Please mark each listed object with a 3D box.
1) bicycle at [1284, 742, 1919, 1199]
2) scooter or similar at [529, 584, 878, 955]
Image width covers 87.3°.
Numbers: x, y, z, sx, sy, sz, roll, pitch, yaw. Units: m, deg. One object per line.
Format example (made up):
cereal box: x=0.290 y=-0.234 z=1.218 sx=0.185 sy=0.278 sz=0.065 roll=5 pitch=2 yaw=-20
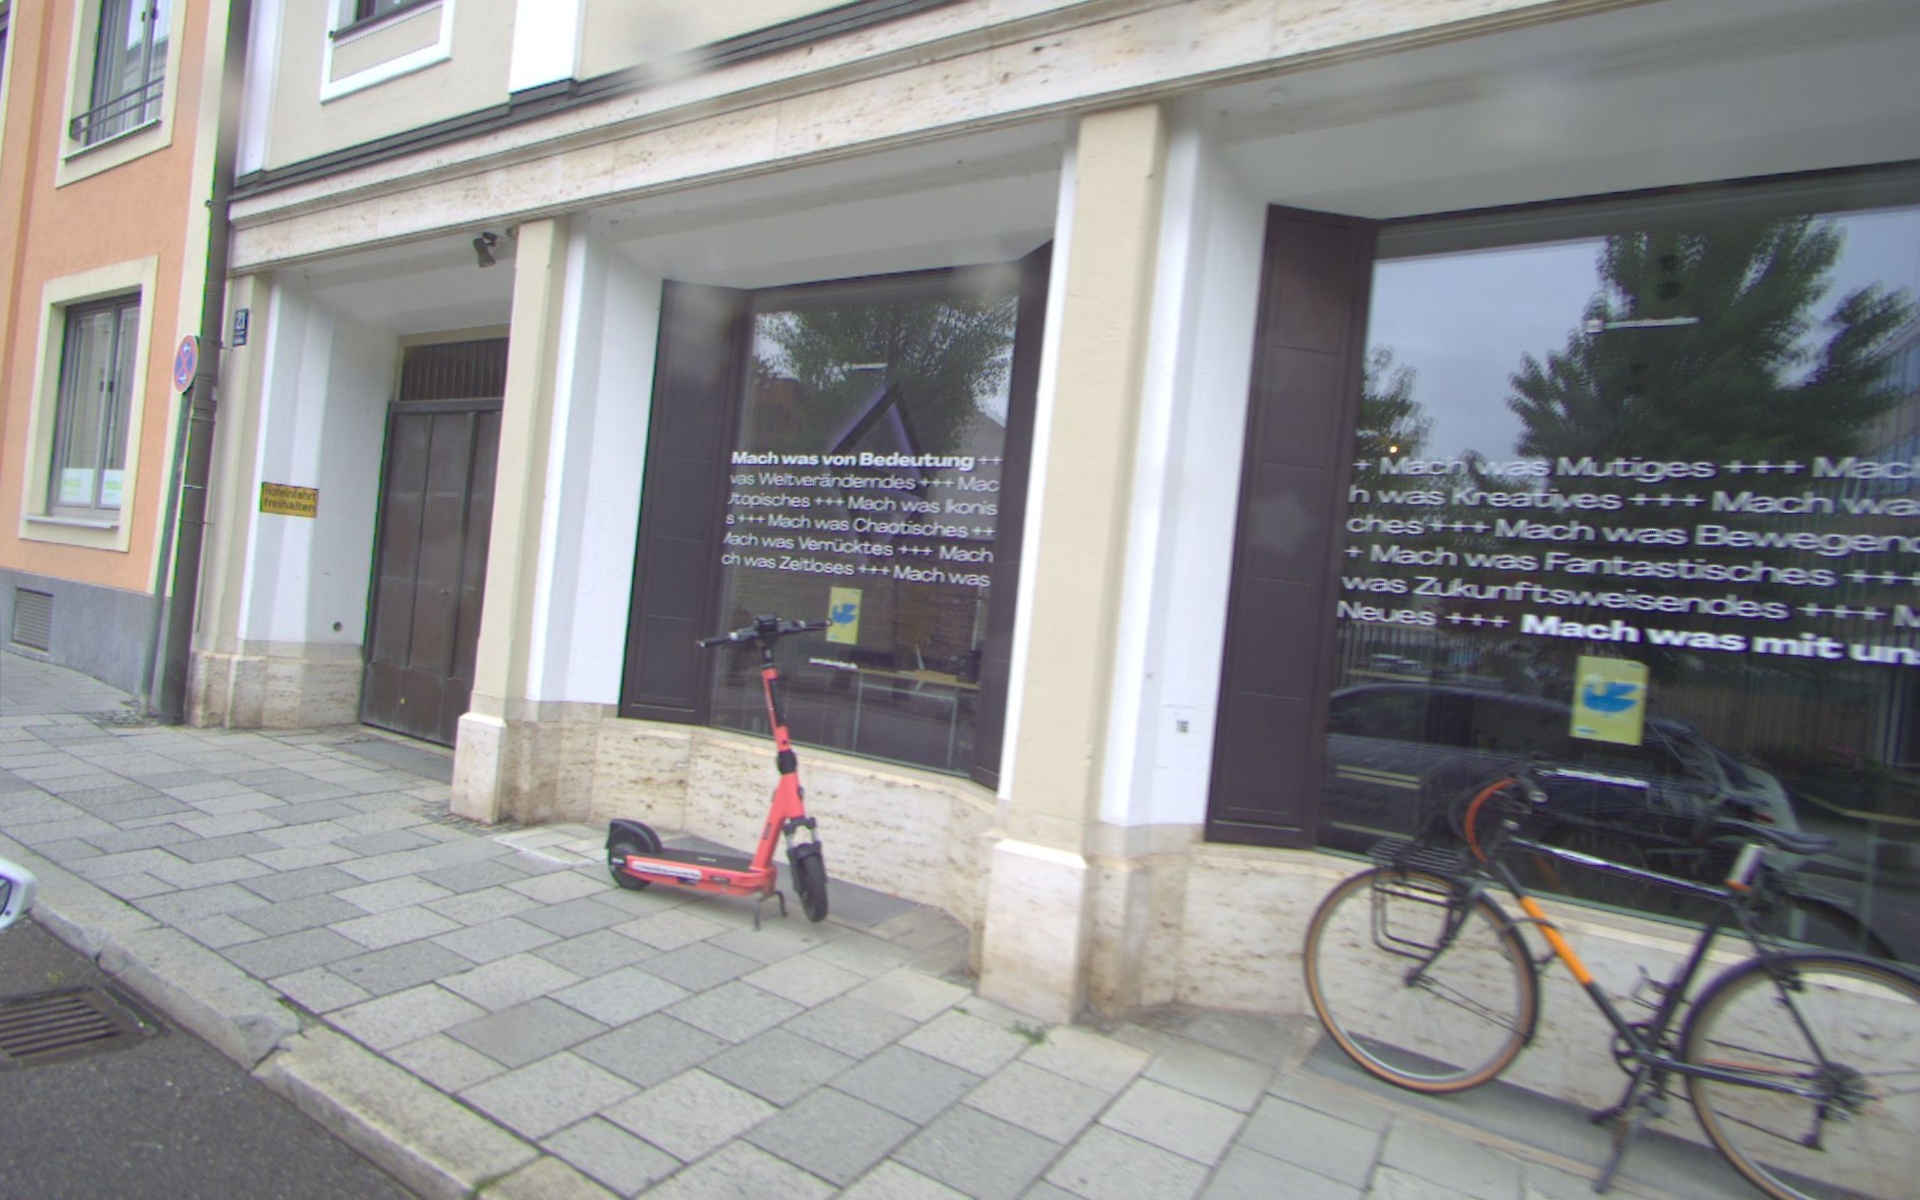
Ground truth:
bicycle: x=2.053 y=1.105 z=2.860 sx=2.049 sy=1.007 sz=0.463 roll=8 pitch=2 yaw=42
scooter or similar: x=-1.068 y=0.638 z=4.180 sx=1.253 sy=1.276 sz=0.466 roll=7 pitch=3 yaw=18
